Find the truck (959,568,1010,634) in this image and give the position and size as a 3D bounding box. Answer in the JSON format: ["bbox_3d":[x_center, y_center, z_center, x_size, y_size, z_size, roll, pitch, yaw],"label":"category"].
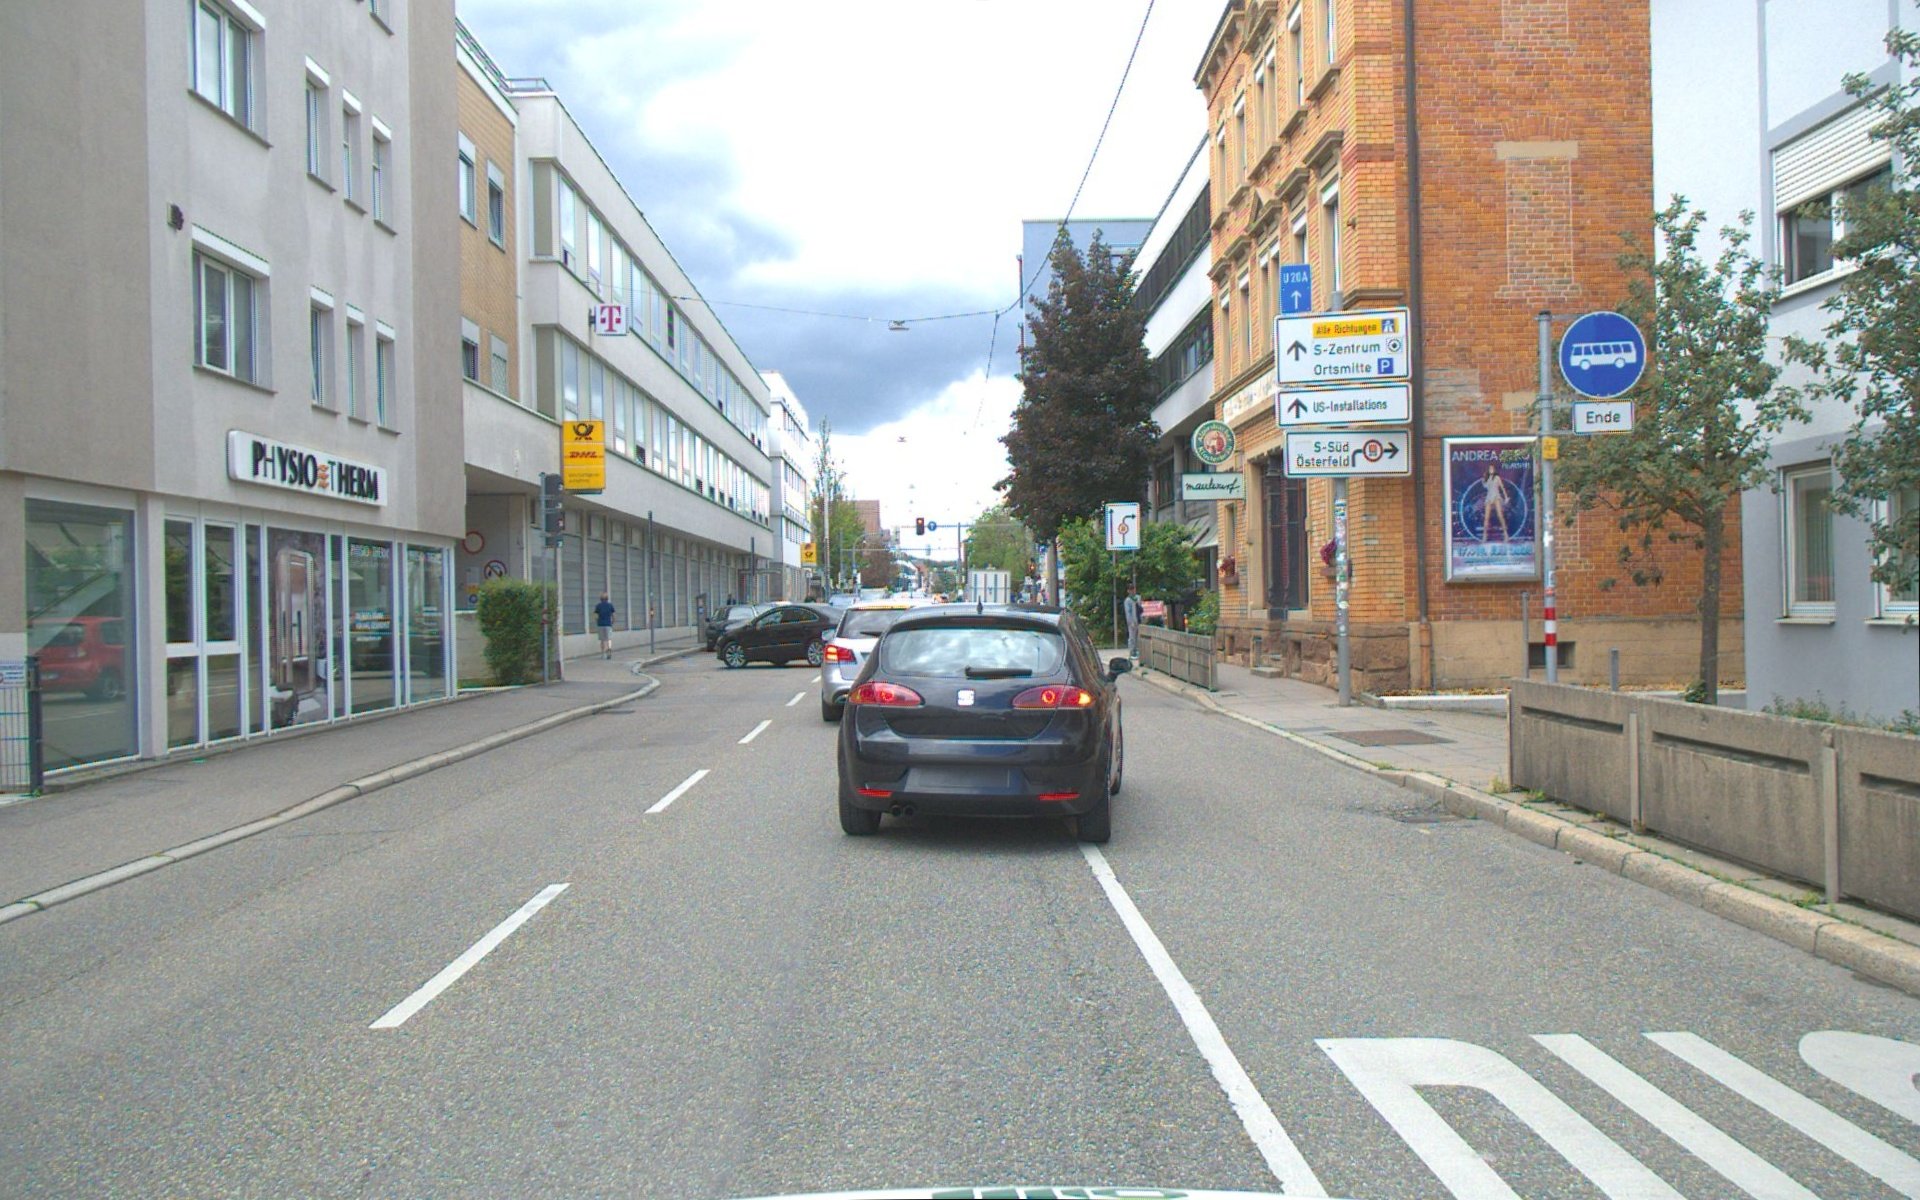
[{"bbox_3d":[1.007,0.028,69.206,1.953,2.653,3.259,-1,0,-2],"label":"truck"}]

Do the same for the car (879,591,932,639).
[{"bbox_3d":[-1.857,0.495,57.009,1.767,1.629,3.736,0,0,-2],"label":"car"}]

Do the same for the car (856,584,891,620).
[{"bbox_3d":[-5.204,0.114,100.142,1.953,2.049,4.900,-2,0,-2],"label":"car"}]

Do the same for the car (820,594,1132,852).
[{"bbox_3d":[0.278,0.712,11.455,1.728,1.458,3.831,-1,0,7],"label":"car"}]

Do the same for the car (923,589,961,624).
[{"bbox_3d":[-0.884,0.284,78.690,1.767,1.629,3.736,0,0,-2],"label":"car"}]

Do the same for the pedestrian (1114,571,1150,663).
[{"bbox_3d":[3.901,0.385,37.625,0.679,2.049,0.676,-1,0,-3],"label":"pedestrian"}]

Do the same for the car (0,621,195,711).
[{"bbox_3d":[-15.519,1.135,29.852,1.718,1.482,3.690,0,0,-1],"label":"car"}]

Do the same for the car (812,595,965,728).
[{"bbox_3d":[-0.894,0.714,21.262,1.767,1.519,3.736,-1,0,-2],"label":"car"}]

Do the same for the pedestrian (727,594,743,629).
[{"bbox_3d":[-10.582,0.533,77.831,0.642,1.651,0.681,-1,0,0],"label":"pedestrian"}]

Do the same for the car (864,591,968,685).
[{"bbox_3d":[-0.817,0.655,30.573,1.767,1.580,3.736,-1,0,-2],"label":"car"}]

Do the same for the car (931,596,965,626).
[{"bbox_3d":[-0.686,0.574,91.384,1.767,1.629,3.736,0,0,-2],"label":"car"}]

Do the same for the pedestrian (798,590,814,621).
[{"bbox_3d":[-9.613,0.339,103.514,0.899,1.901,0.783,-1,0,-2],"label":"pedestrian"}]

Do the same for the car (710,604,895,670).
[{"bbox_3d":[-3.652,0.829,37.860,4.333,1.389,1.775,-1,0,42],"label":"car"}]

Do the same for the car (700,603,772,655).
[{"bbox_3d":[-7.333,0.914,54.436,1.874,1.543,4.173,-2,0,-2],"label":"car"}]

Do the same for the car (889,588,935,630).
[{"bbox_3d":[-1.887,0.342,64.910,1.767,1.629,3.736,0,0,-2],"label":"car"}]

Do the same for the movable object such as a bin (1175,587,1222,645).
[{"bbox_3d":[6.433,0.419,44.644,0.924,1.496,1.444,-3,0,-4],"label":"movable object such as a bin"}]

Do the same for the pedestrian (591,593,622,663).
[{"bbox_3d":[-9.299,0.736,43.563,0.630,1.800,0.809,-1,0,-3],"label":"pedestrian"}]

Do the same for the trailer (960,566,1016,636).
[{"bbox_3d":[1.085,0.044,66.436,1.953,2.653,5.347,-1,0,-2],"label":"trailer"}]
